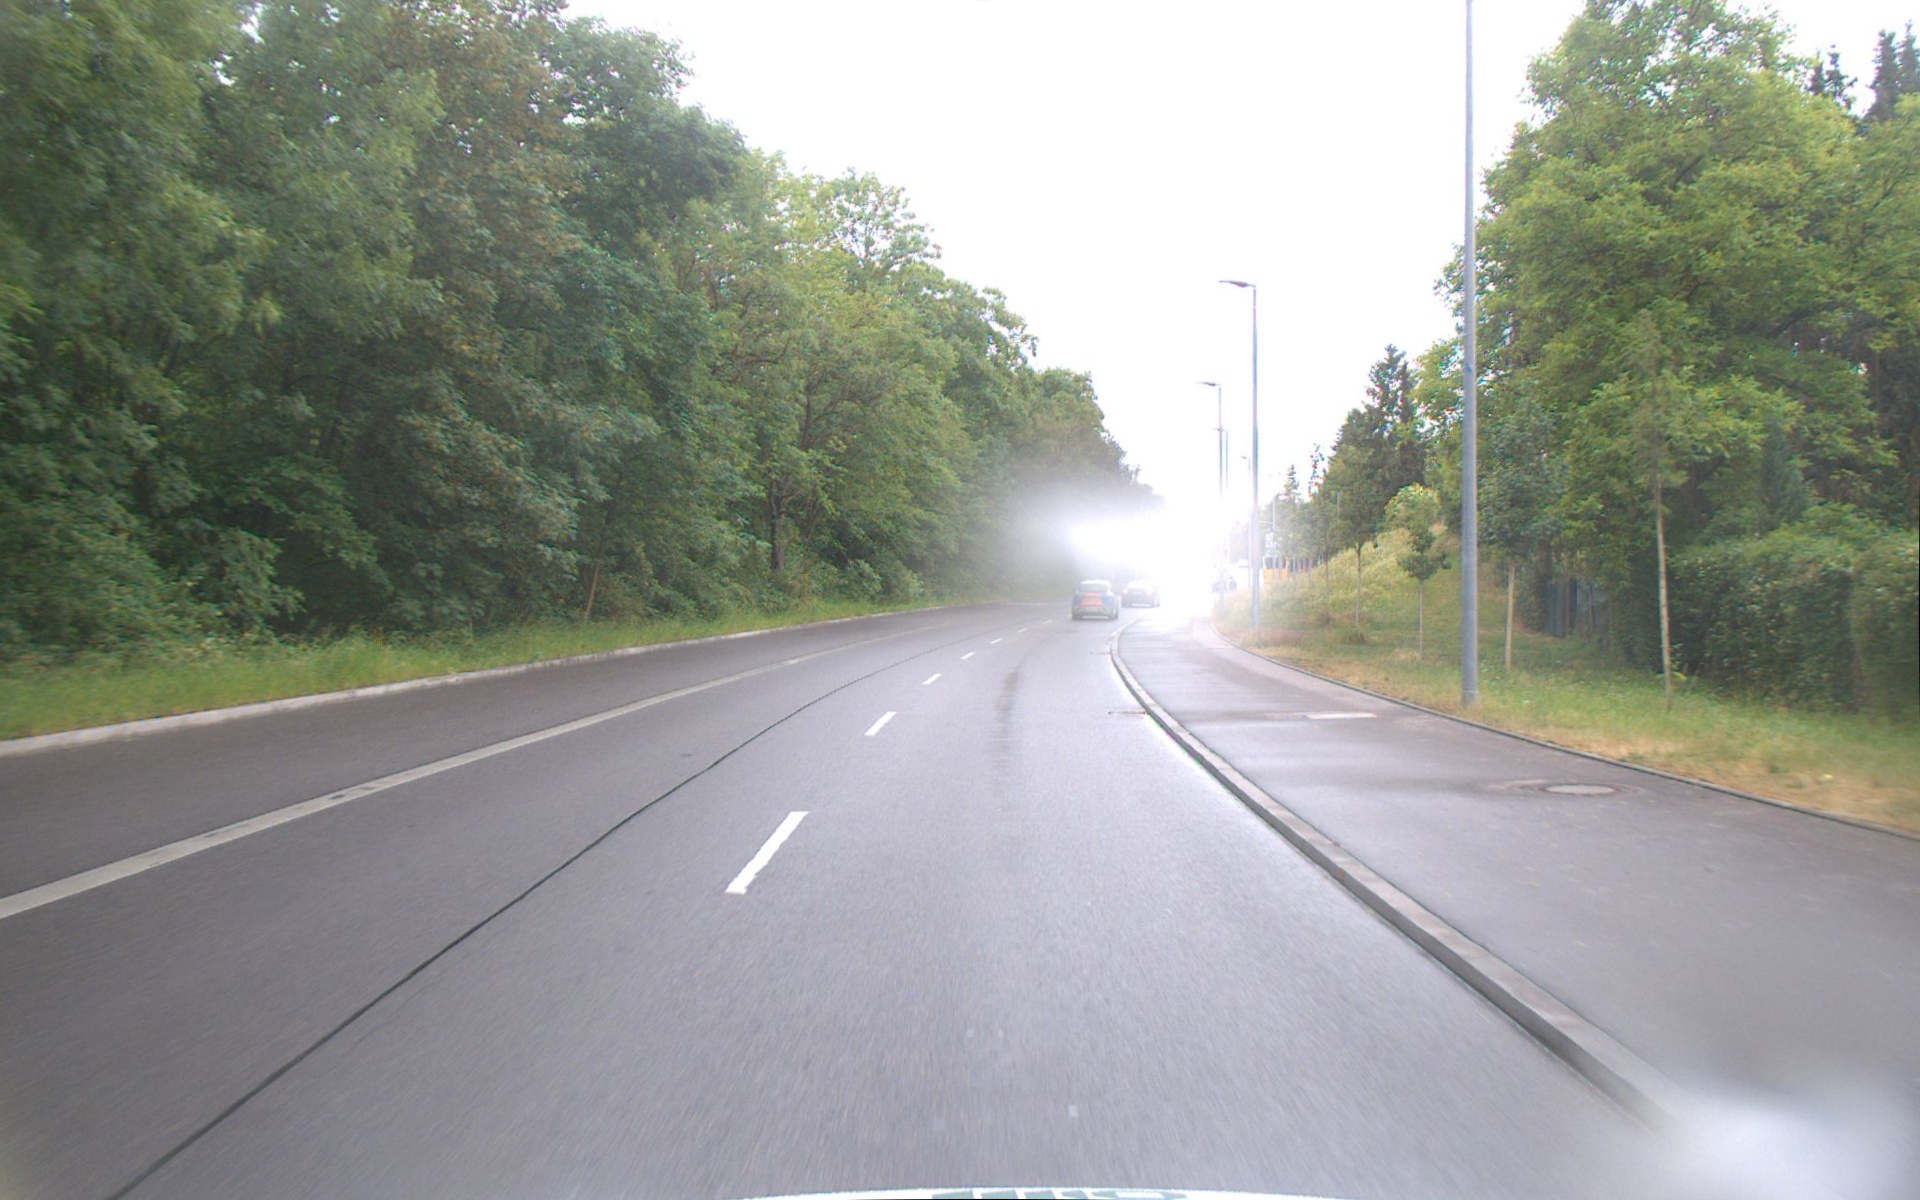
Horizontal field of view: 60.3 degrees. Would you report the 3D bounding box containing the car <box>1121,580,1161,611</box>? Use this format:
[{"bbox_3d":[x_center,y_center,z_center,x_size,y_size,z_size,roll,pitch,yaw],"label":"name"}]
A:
[{"bbox_3d":[9.858,-0.246,89.946,1.886,1.512,3.803,-1,2,10],"label":"car"}]

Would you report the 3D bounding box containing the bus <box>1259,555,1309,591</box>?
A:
[{"bbox_3d":[30.666,-2.537,156.274,2.760,3.197,9.178,1,1,23],"label":"bus"}]

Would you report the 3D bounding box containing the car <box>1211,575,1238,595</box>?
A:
[{"bbox_3d":[21.817,-1.264,136.278,1.951,1.579,4.004,1,1,13],"label":"car"}]

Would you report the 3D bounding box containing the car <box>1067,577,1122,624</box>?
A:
[{"bbox_3d":[5.569,-0.006,67.934,1.951,1.718,4.004,-1,2,9],"label":"car"}]
